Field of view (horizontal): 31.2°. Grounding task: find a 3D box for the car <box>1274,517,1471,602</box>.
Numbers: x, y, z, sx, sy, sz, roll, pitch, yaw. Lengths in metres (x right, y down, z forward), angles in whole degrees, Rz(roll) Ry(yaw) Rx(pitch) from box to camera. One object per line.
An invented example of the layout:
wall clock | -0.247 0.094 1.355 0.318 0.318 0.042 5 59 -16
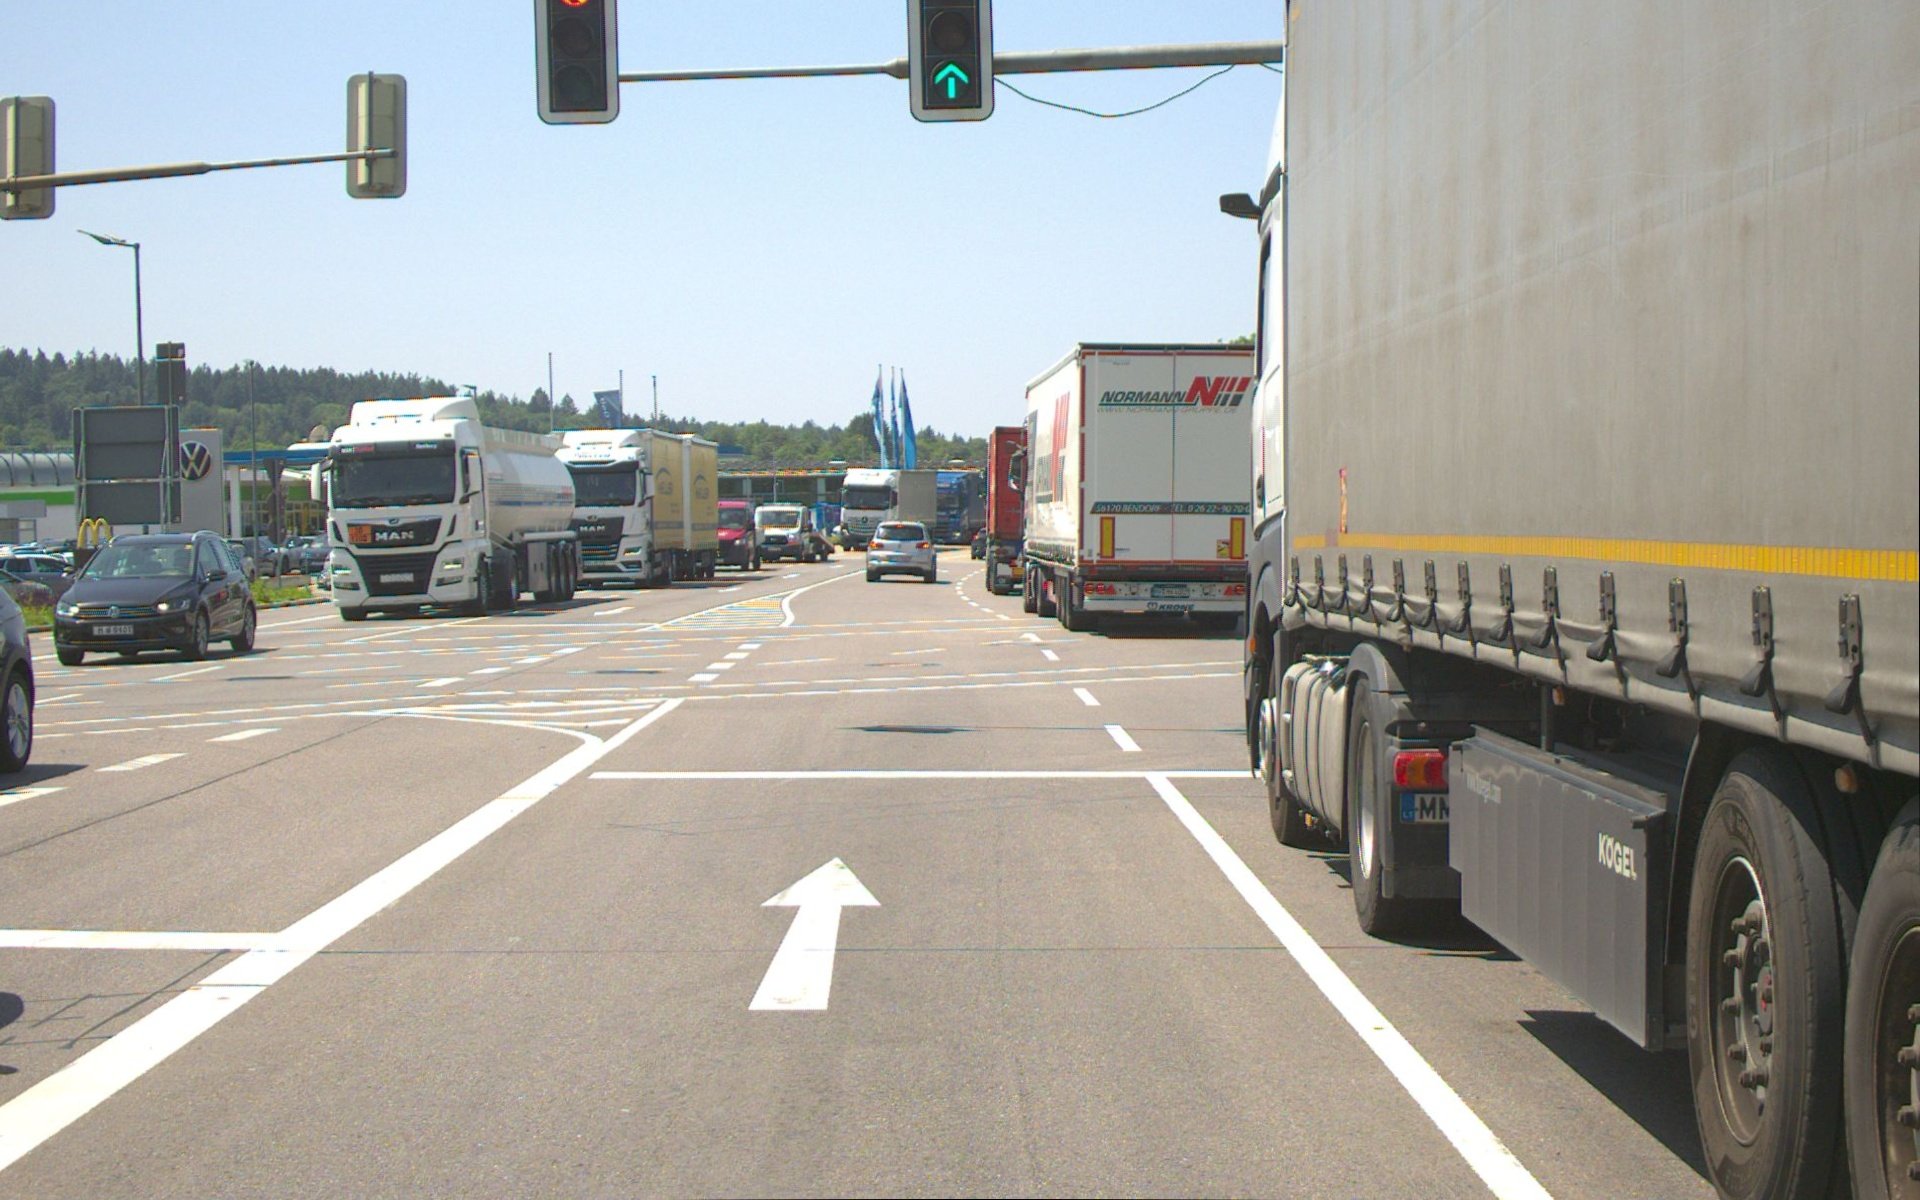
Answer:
car | 9.247 -0.920 77.248 3.986 1.787 2.001 -1 1 -8

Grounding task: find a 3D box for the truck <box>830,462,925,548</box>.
truck | -4.025 -4.659 171.373 3.271 3.936 13.862 0 0 5

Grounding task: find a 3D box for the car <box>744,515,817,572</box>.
car | -6.687 -2.119 128.648 2.203 2.007 4.756 -2 1 3

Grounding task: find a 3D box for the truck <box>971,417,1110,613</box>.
truck | 1.853 -1.936 86.651 2.875 4.463 16.655 0 0 -1

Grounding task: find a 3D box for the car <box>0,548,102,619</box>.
car | -23.396 -0.393 85.414 1.789 1.653 3.581 -1 2 42

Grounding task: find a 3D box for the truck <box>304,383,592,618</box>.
truck | -9.570 -1.857 66.233 2.934 3.936 14.237 -2 1 2

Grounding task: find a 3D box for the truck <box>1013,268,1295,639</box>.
truck | 2.698 -2.090 53.112 2.934 4.821 14.873 -2 1 -2

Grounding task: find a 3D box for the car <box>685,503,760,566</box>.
car | -7.818 -2.156 113.433 1.994 2.007 4.000 0 0 3

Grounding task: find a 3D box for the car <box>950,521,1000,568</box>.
car | 0.680 -2.448 150.424 1.994 2.007 4.000 -1 1 3

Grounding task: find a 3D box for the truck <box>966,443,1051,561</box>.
truck | 1.559 -3.195 115.026 2.608 3.704 9.450 0 0 -1

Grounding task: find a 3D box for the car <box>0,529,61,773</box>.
car | -6.771 0.355 20.602 1.664 1.503 3.905 -2 1 1

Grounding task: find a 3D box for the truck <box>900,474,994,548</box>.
truck | -0.652 -5.041 194.400 3.272 3.936 13.861 -2 1 8

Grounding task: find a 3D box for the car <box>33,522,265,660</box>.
car | -10.204 -0.155 43.566 1.825 1.577 4.246 -3 1 1

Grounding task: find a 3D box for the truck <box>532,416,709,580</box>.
truck | -8.880 -2.666 91.776 2.934 3.936 13.865 -2 1 1

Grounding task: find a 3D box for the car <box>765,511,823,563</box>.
car | -6.596 -2.483 137.002 1.905 2.007 4.000 0 0 3

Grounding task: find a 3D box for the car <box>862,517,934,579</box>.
car | -1.693 -1.443 95.241 1.804 1.664 4.292 0 1 2

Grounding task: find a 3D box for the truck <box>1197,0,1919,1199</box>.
truck | 2.750 -0.660 9.752 2.755 4.623 16.655 0 0 -1

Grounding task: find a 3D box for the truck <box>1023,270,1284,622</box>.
truck | 2.704 -2.032 53.614 2.875 4.623 16.655 0 0 -1
